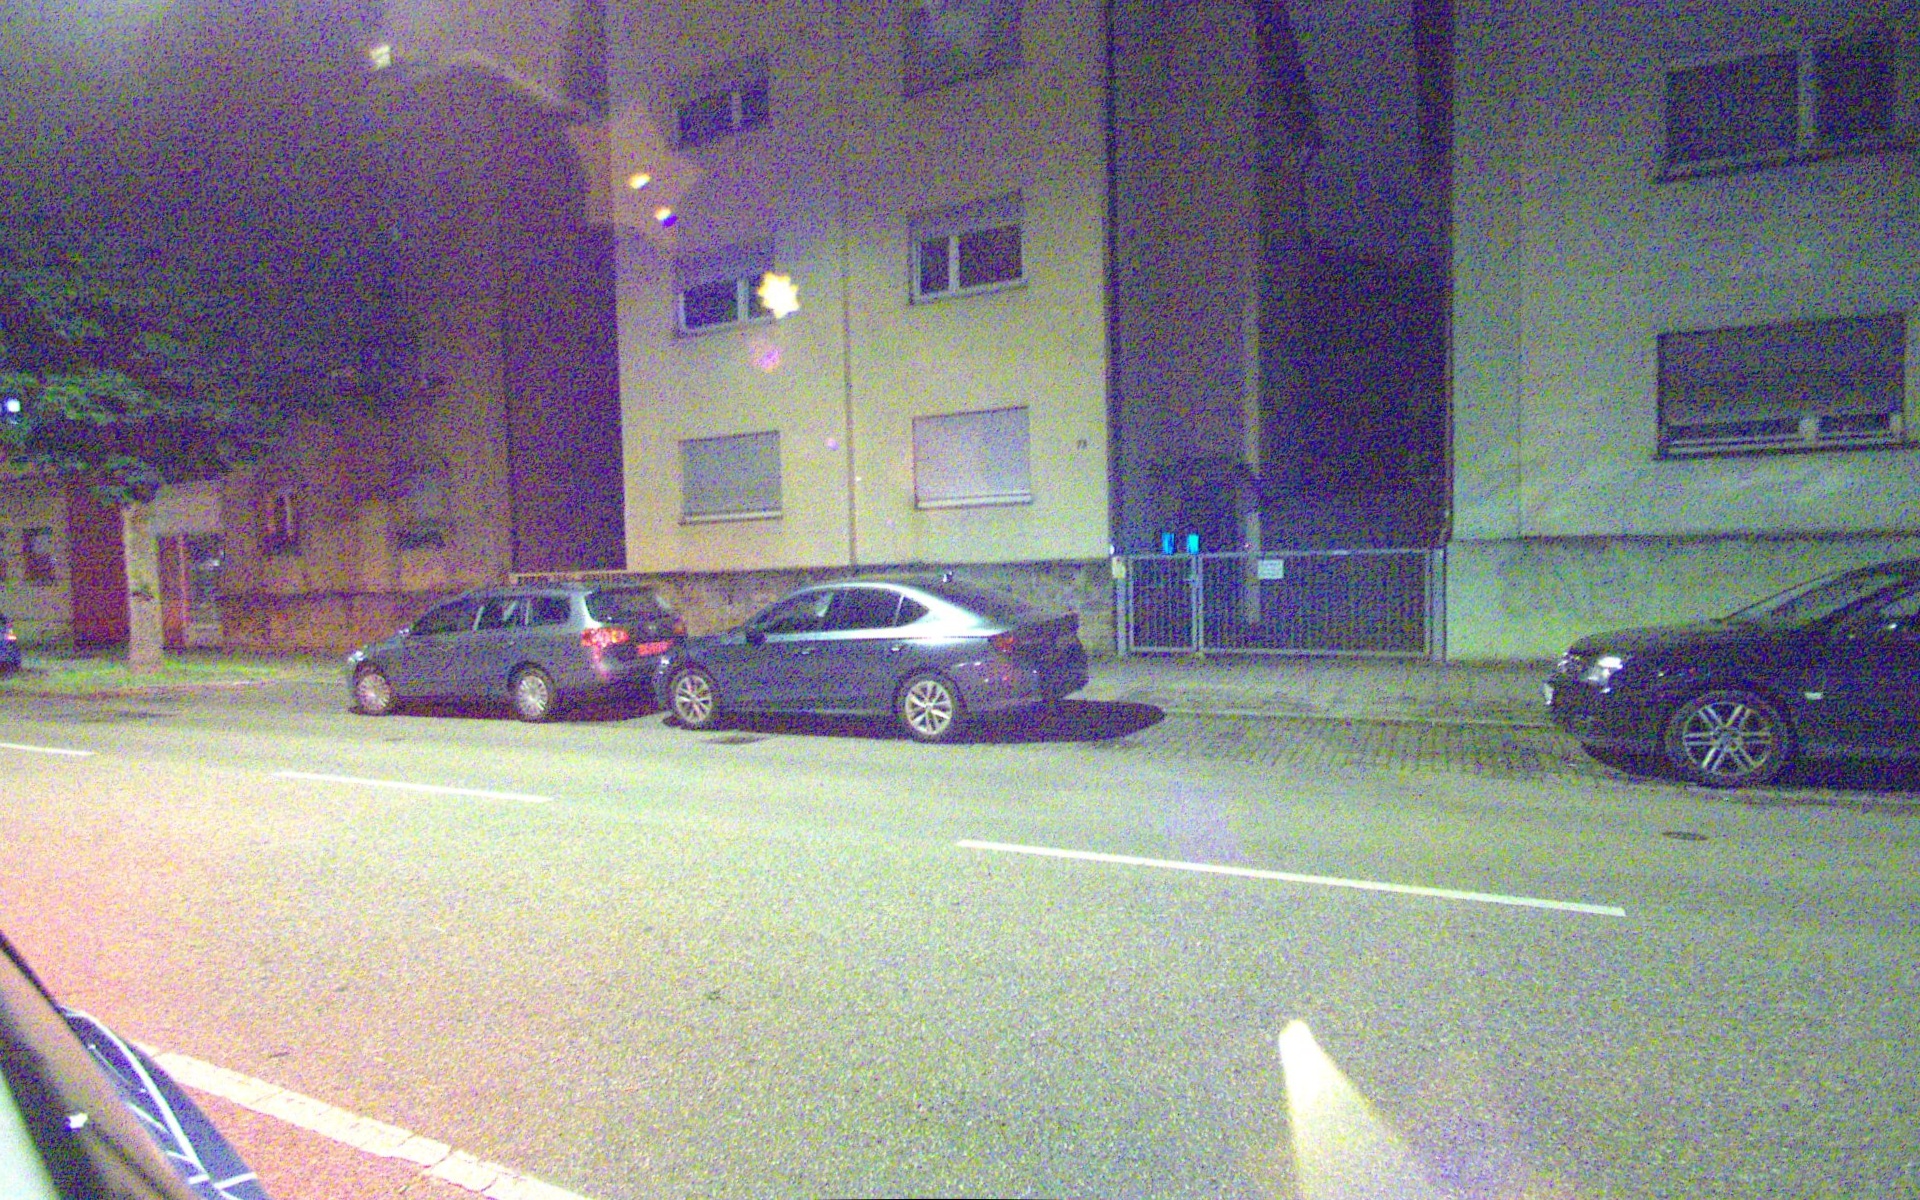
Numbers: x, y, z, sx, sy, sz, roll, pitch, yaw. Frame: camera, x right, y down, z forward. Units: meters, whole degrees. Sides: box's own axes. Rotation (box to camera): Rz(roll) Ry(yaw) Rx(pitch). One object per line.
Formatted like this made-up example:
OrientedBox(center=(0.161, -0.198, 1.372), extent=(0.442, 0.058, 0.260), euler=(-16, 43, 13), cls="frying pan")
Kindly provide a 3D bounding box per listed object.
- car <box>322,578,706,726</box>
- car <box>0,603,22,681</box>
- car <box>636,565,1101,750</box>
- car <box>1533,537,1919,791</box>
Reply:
OrientedBox(center=(-5.319, 0.568, 12.023), extent=(4.322, 1.444, 1.631), euler=(-1, 3, 24), cls="car")
OrientedBox(center=(-19.944, 0.832, 19.495), extent=(3.496, 1.475, 1.619), euler=(-1, 1, 26), cls="car")
OrientedBox(center=(-0.948, 0.479, 9.893), extent=(4.325, 1.444, 1.543), euler=(-1, 4, 27), cls="car")
OrientedBox(center=(6.329, 0.329, 6.525), extent=(4.377, 1.444, 1.852), euler=(-1, 3, 24), cls="car")
